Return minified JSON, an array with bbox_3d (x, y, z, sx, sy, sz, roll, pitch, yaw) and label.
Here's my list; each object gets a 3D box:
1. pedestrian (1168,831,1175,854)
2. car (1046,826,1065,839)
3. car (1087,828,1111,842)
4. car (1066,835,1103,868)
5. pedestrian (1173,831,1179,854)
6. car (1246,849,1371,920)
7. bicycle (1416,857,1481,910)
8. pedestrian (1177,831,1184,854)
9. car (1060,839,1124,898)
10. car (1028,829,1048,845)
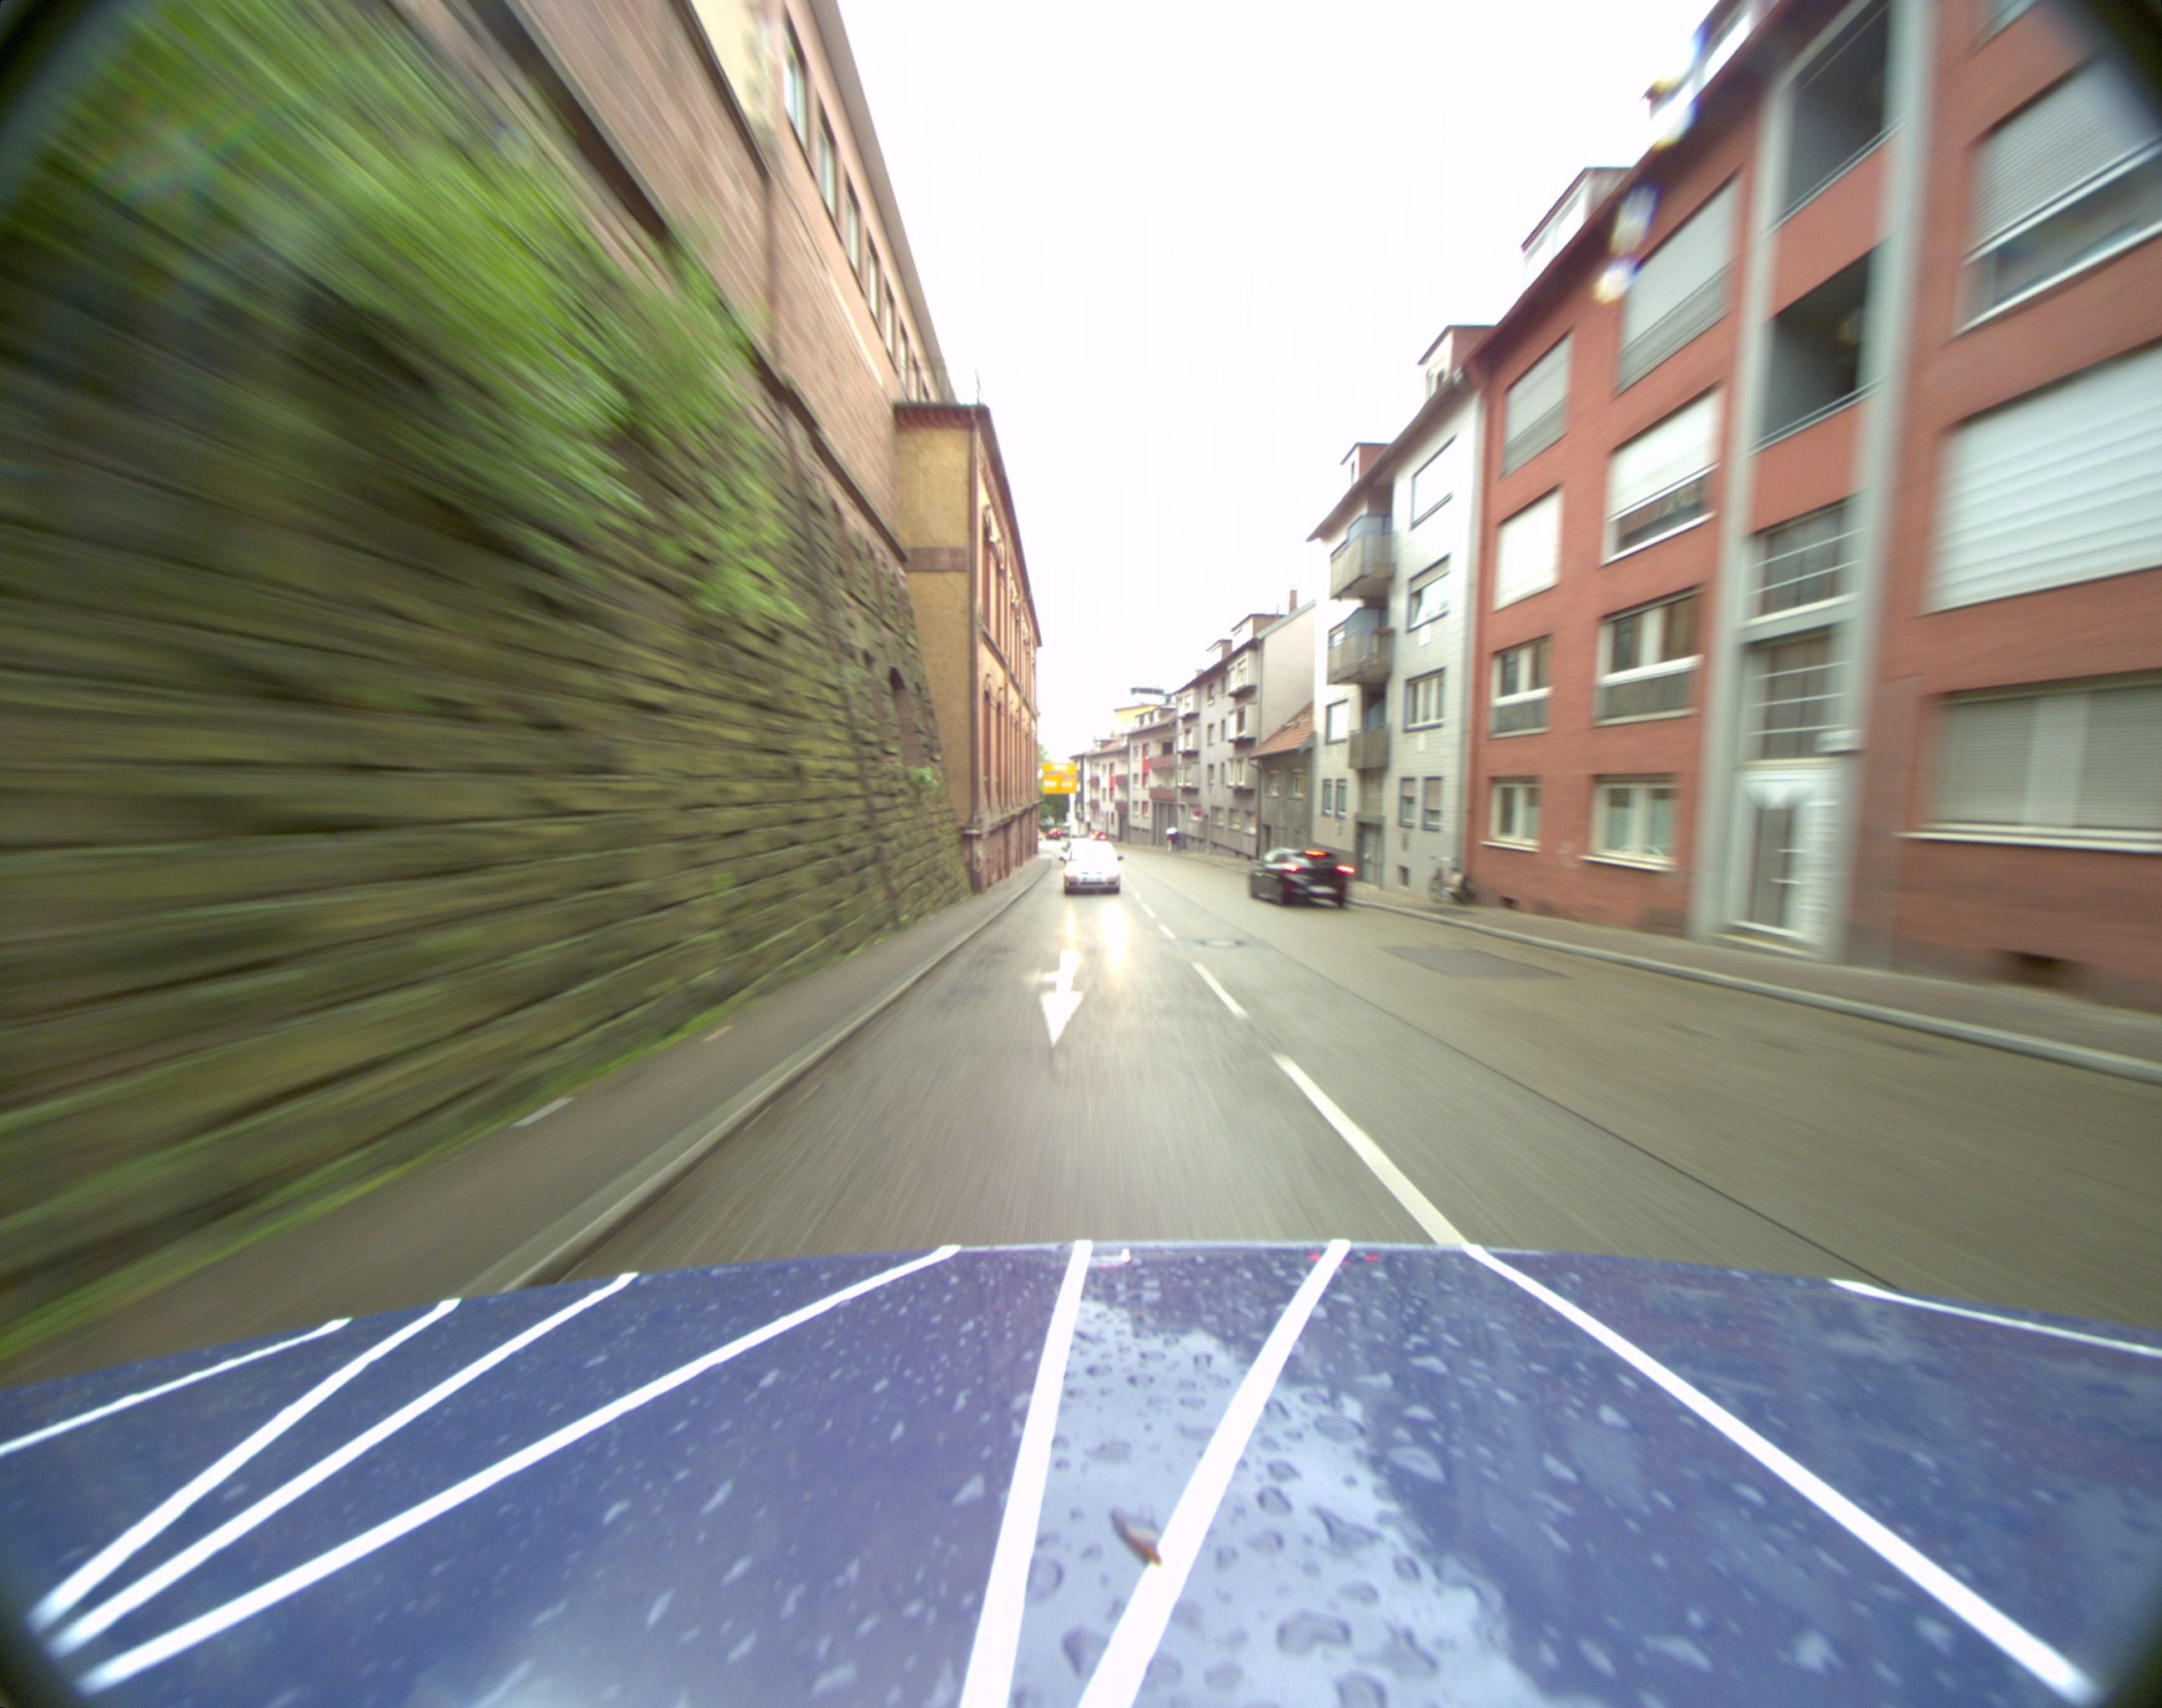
[{"bbox_3d":[7.146,-0.897,60.107,0.387,1.770,0.499,-2,2,-9],"label":"pedestrian"},{"bbox_3d":[-3.527,-2.893,104.271,1.835,1.694,4.070,-2,2,-13],"label":"car"},{"bbox_3d":[1.850,-2.005,80.201,1.715,1.316,3.366,-2,2,-13],"label":"car"},{"bbox_3d":[0.151,-0.164,39.437,1.720,1.527,3.998,-2,2,-2],"label":"car"},{"bbox_3d":[7.527,-0.909,60.173,0.381,1.770,0.499,-2,2,-9],"label":"pedestrian"},{"bbox_3d":[5.658,0.692,19.476,1.998,1.470,3.999,2,2,1],"label":"car"},{"bbox_3d":[8.657,0.657,17.989,0.572,1.110,2.039,-2,1,1],"label":"bicycle"},{"bbox_3d":[7.905,-0.921,60.226,0.355,1.770,0.499,-2,2,-9],"label":"pedestrian"},{"bbox_3d":[0.310,0.363,22.969,1.720,1.527,3.998,-2,2,0],"label":"car"},{"bbox_3d":[-5.767,-2.263,101.493,2.000,2.002,3.994,-2,2,-12],"label":"car"}]
